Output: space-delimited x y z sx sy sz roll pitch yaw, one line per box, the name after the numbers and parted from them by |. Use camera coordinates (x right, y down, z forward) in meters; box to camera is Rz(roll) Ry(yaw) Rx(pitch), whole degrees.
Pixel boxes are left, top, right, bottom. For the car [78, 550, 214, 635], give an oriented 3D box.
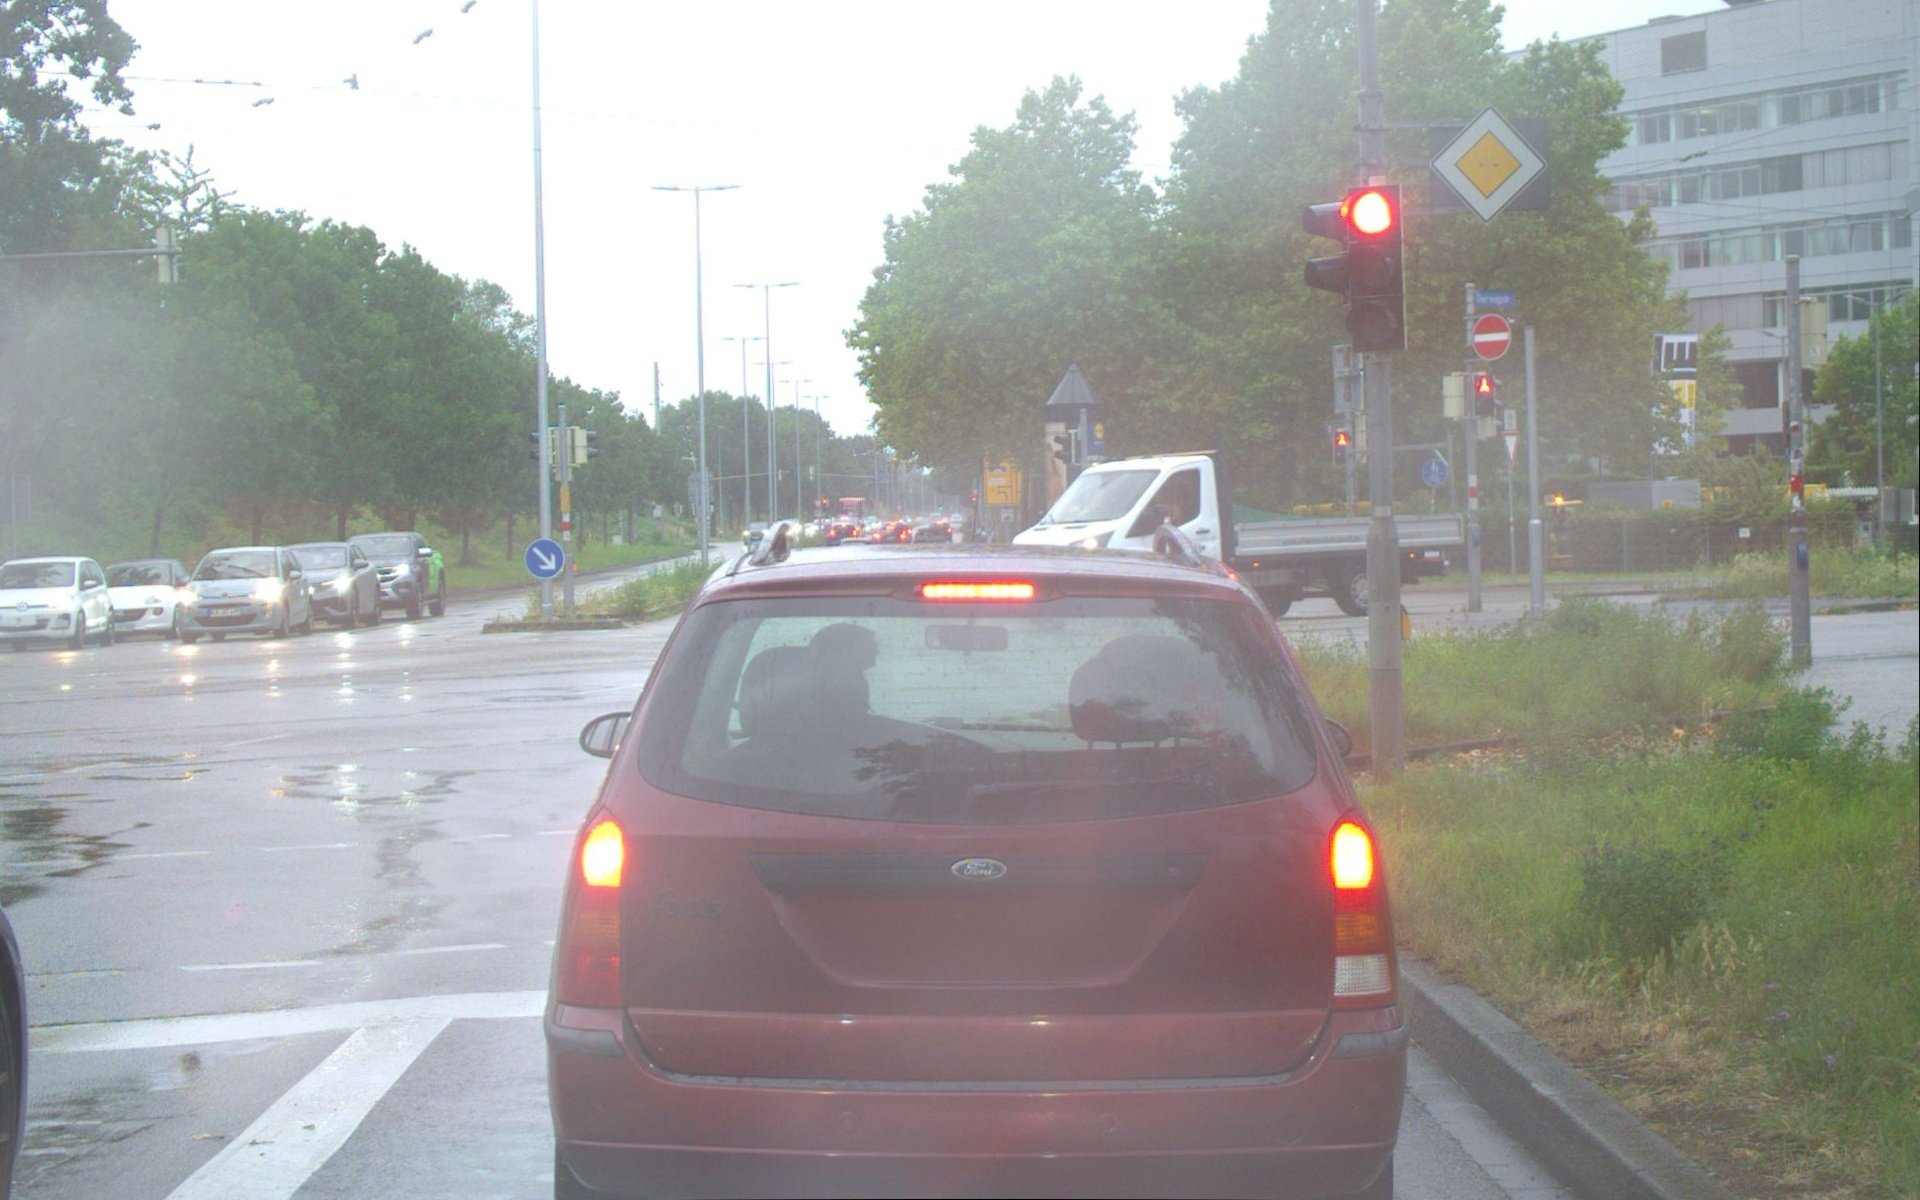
-14.511 -0.154 61.449 1.590 1.399 3.823 -2 1 -2 | car

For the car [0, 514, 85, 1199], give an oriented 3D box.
-2.692 0.648 4.894 1.769 1.568 4.822 1 1 -2 | car

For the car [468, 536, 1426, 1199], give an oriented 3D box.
-0.074 0.604 7.816 1.642 1.460 3.733 1 1 -2 | car

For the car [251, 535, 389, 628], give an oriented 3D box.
-11.735 -0.355 63.272 1.762 1.580 4.814 -2 1 -2 | car

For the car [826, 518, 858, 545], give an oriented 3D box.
-6.945 -4.032 202.468 1.698 1.522 3.846 -1 1 1 | car

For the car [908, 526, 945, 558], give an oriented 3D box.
-1.644 -2.890 169.901 1.671 1.522 3.846 -1 1 1 | car

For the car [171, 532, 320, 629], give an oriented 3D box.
-11.635 -0.346 56.163 1.638 1.468 3.965 -2 1 -1 | car

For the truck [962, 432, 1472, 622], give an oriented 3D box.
3.518 -1.007 45.869 6.847 2.357 2.482 -2 1 -38 | truck

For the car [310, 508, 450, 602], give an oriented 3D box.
-11.997 -0.971 71.469 2.065 1.813 5.542 -2 1 -2 | car

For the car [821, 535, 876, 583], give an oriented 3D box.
-4.278 -1.577 131.319 1.993 1.784 4.000 1 1 -3 | car

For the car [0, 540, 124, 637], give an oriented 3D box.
-14.634 -0.203 55.120 1.638 1.447 3.788 -2 1 -3 | car

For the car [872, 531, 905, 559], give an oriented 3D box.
-4.024 -3.121 194.058 1.698 1.522 3.846 -1 1 1 | car
